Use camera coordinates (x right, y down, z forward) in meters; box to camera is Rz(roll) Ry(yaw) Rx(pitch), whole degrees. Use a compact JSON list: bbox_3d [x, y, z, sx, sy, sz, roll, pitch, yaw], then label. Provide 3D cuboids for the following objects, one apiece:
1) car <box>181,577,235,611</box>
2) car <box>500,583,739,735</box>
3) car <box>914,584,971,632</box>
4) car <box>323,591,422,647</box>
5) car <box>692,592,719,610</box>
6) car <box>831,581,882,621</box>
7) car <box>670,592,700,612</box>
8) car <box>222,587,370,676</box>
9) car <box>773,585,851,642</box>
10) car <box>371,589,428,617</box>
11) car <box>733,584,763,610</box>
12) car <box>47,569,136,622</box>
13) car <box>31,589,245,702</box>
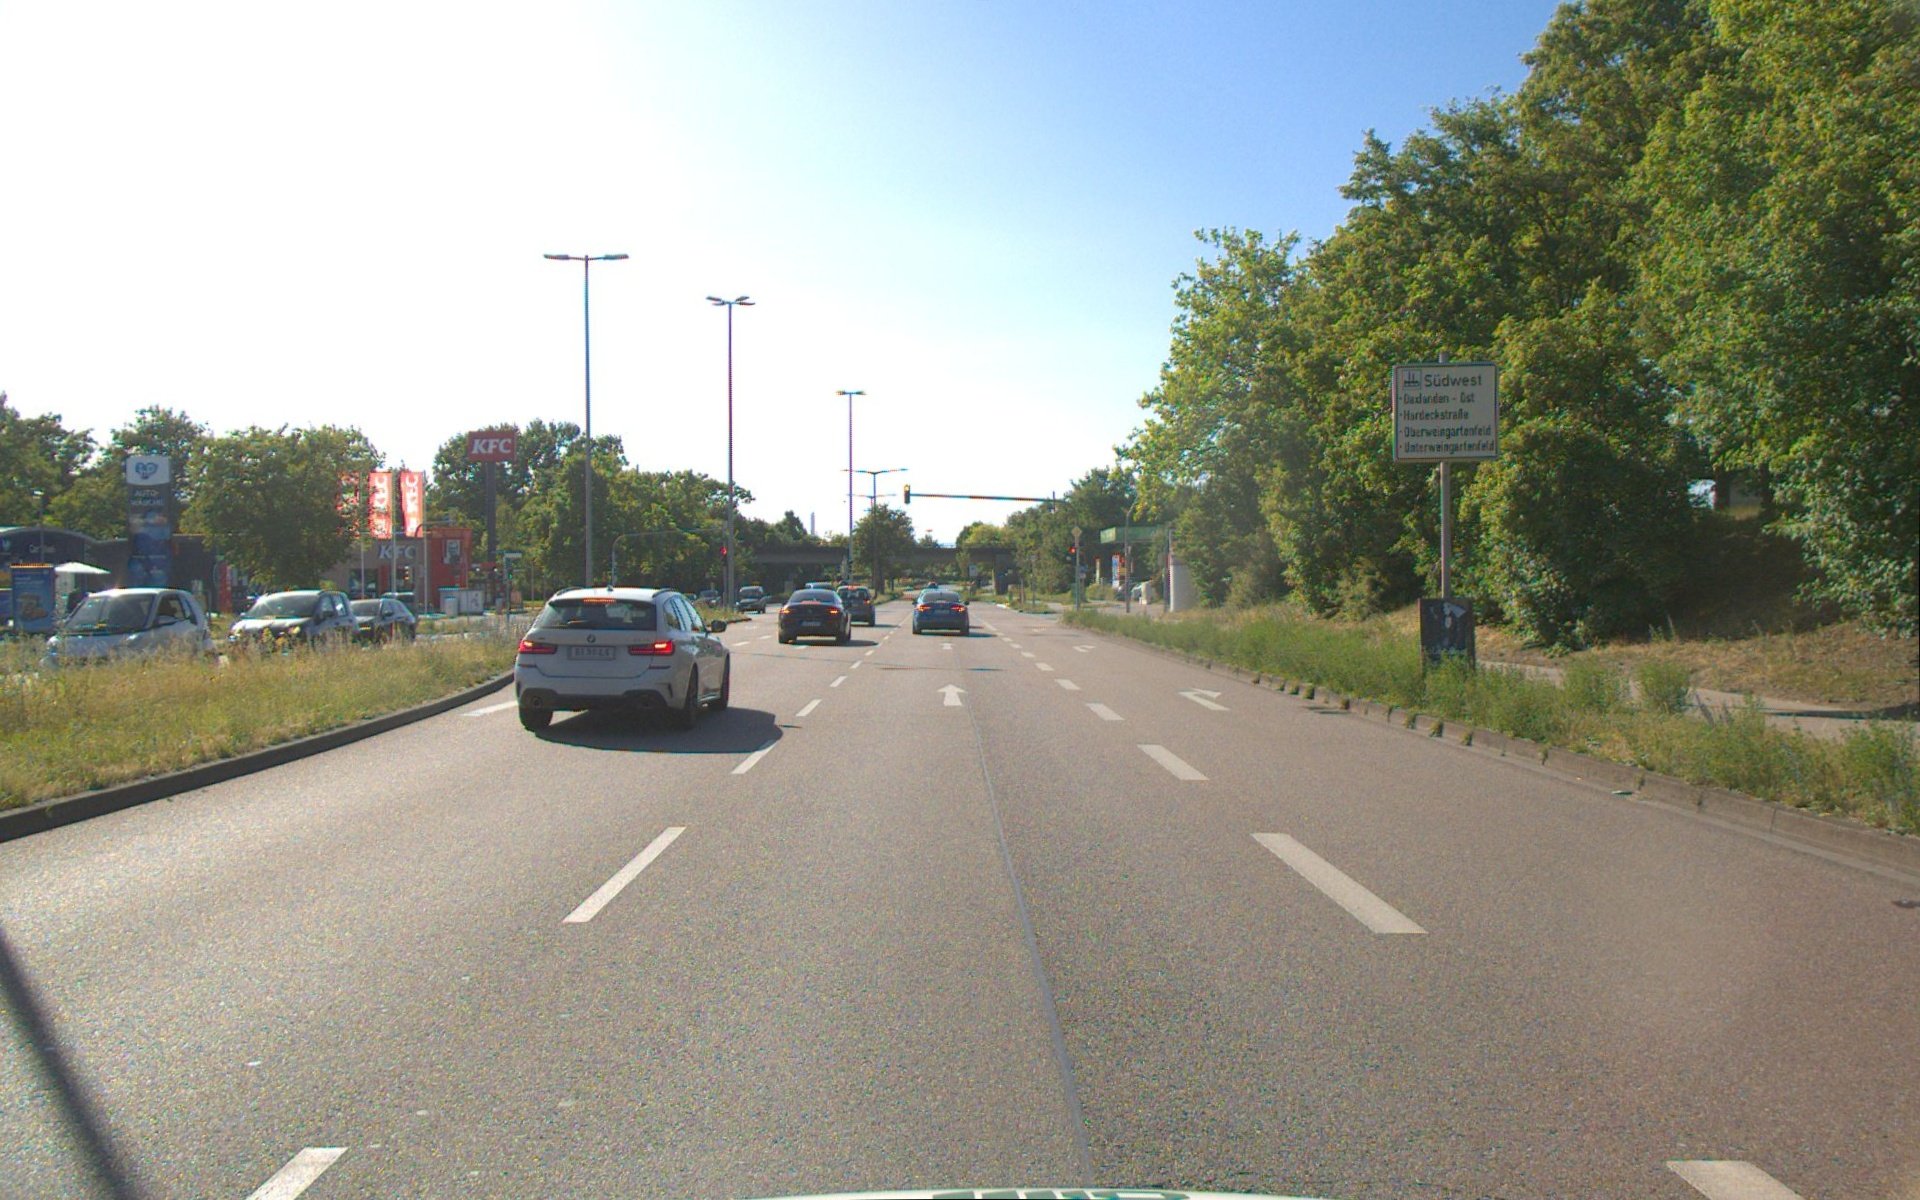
[{"bbox_3d":[-46.011,-0.384,101.162,3.730,2.049,1.766,0,1,45],"label":"car"},{"bbox_3d":[-3.657,0.555,18.563,1.824,1.480,4.546,0,1,-1],"label":"car"},{"bbox_3d":[-0.597,0.243,55.935,1.824,1.525,4.336,-1,1,-1],"label":"car"},{"bbox_3d":[-16.647,0.505,47.023,1.504,1.477,3.671,-2,1,-1],"label":"car"},{"bbox_3d":[-21.033,0.040,136.788,1.669,1.426,3.722,-1,1,-1],"label":"car"},{"bbox_3d":[-4.201,0.021,67.628,1.824,1.592,4.547,0,1,-1],"label":"car"},{"bbox_3d":[-20.468,0.130,123.295,1.669,1.426,3.722,-1,1,-1],"label":"car"},{"bbox_3d":[-13.171,0.581,32.999,1.504,1.651,3.671,-1,1,-1],"label":"car"},{"bbox_3d":[-4.064,0.337,45.985,1.824,1.480,4.547,-1,1,-1],"label":"car"},{"bbox_3d":[-36.241,0.180,106.897,1.913,1.814,4.020,-1,1,-44],"label":"car"},{"bbox_3d":[-13.900,-0.218,108.626,1.504,1.608,3.671,-1,1,-1],"label":"car"},{"bbox_3d":[-37.486,-0.206,71.500,1.782,2.248,3.999,0,0,-2],"label":"car"},{"bbox_3d":[-12.155,0.621,24.684,1.463,1.535,3.486,-1,1,-1],"label":"car"}]
